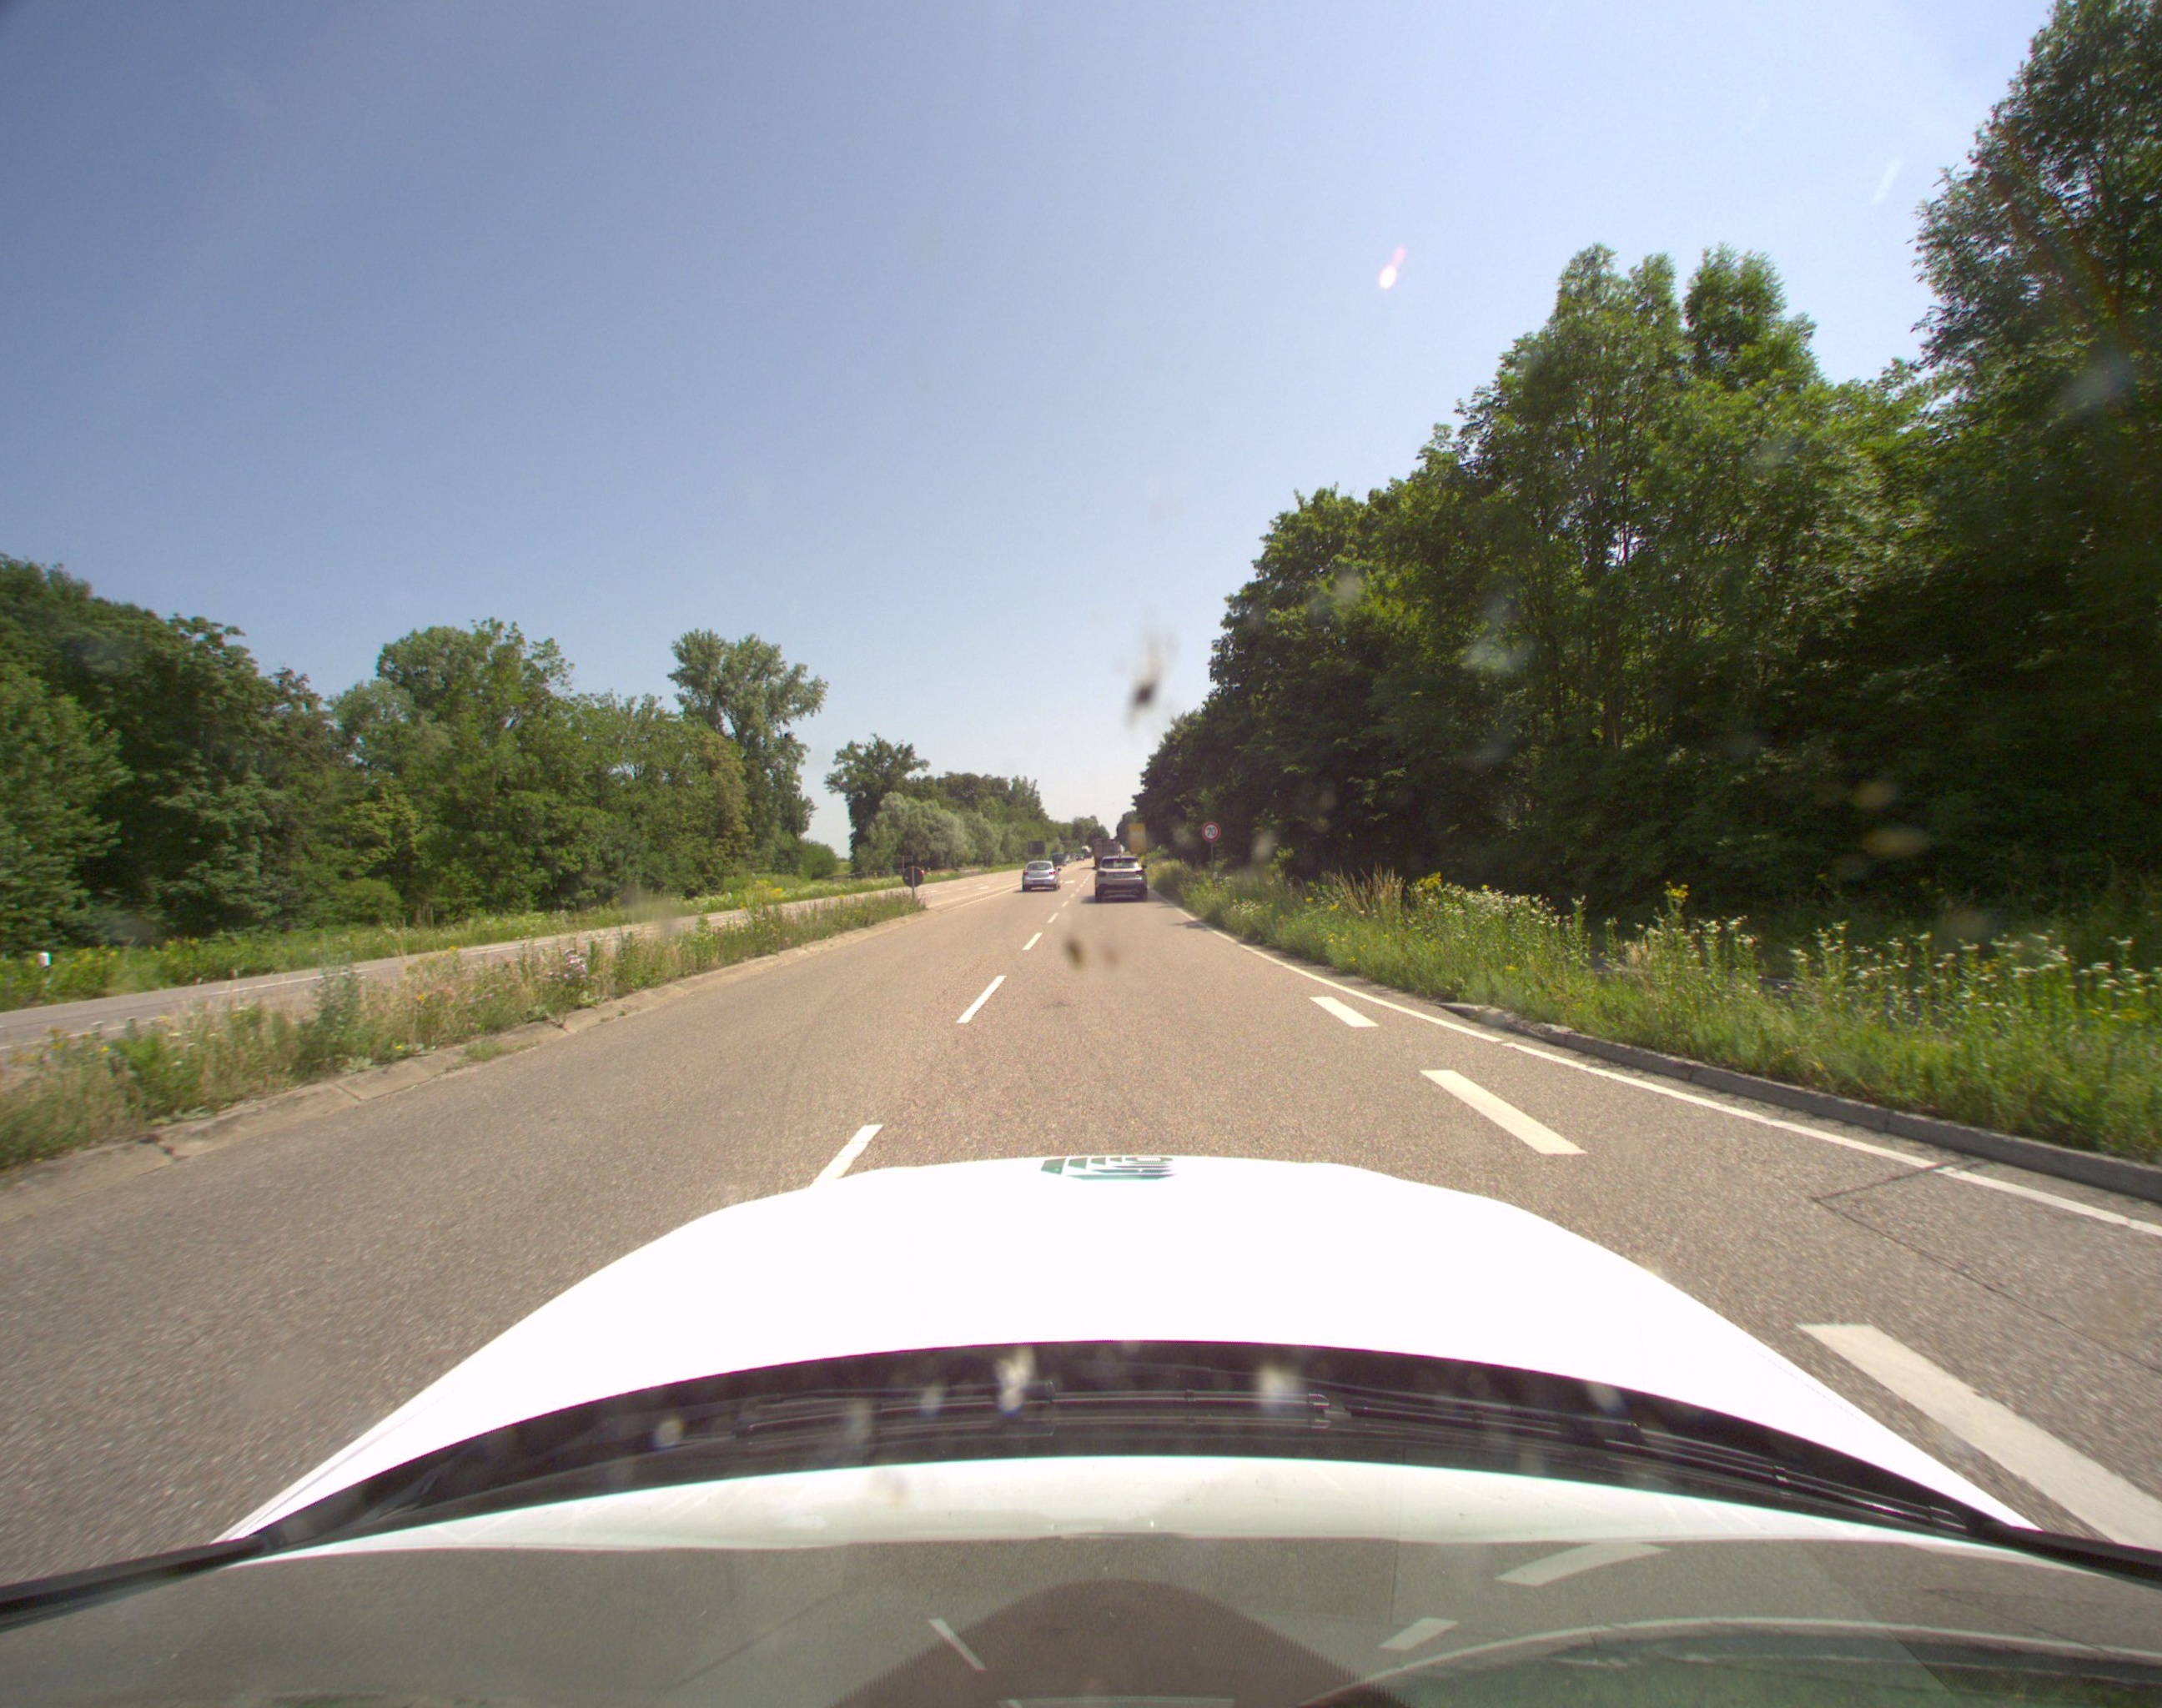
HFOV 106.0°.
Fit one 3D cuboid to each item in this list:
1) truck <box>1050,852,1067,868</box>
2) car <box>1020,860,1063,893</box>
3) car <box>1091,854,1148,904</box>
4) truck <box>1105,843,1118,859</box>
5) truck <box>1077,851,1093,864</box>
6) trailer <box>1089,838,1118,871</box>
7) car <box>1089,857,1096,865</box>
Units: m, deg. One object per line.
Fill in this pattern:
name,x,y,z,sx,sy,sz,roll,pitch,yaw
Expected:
truck,-4.137,1.154,150.424,2.444,2.656,6.496,-6,0,3
car,-1.863,1.048,39.407,1.659,1.430,3.831,-2,0,3
car,1.367,0.820,28.414,1.760,1.535,4.003,-2,0,3
truck,8.550,-0.753,229.312,3.484,4.187,10.788,-2,0,2
truck,1.317,1.174,259.957,3.643,4.105,9.483,-4,0,-8
trailer,3.052,0.131,107.025,3.368,3.988,10.814,-2,0,4
car,3.272,1.878,228.924,1.987,2.013,4.553,-4,0,0
